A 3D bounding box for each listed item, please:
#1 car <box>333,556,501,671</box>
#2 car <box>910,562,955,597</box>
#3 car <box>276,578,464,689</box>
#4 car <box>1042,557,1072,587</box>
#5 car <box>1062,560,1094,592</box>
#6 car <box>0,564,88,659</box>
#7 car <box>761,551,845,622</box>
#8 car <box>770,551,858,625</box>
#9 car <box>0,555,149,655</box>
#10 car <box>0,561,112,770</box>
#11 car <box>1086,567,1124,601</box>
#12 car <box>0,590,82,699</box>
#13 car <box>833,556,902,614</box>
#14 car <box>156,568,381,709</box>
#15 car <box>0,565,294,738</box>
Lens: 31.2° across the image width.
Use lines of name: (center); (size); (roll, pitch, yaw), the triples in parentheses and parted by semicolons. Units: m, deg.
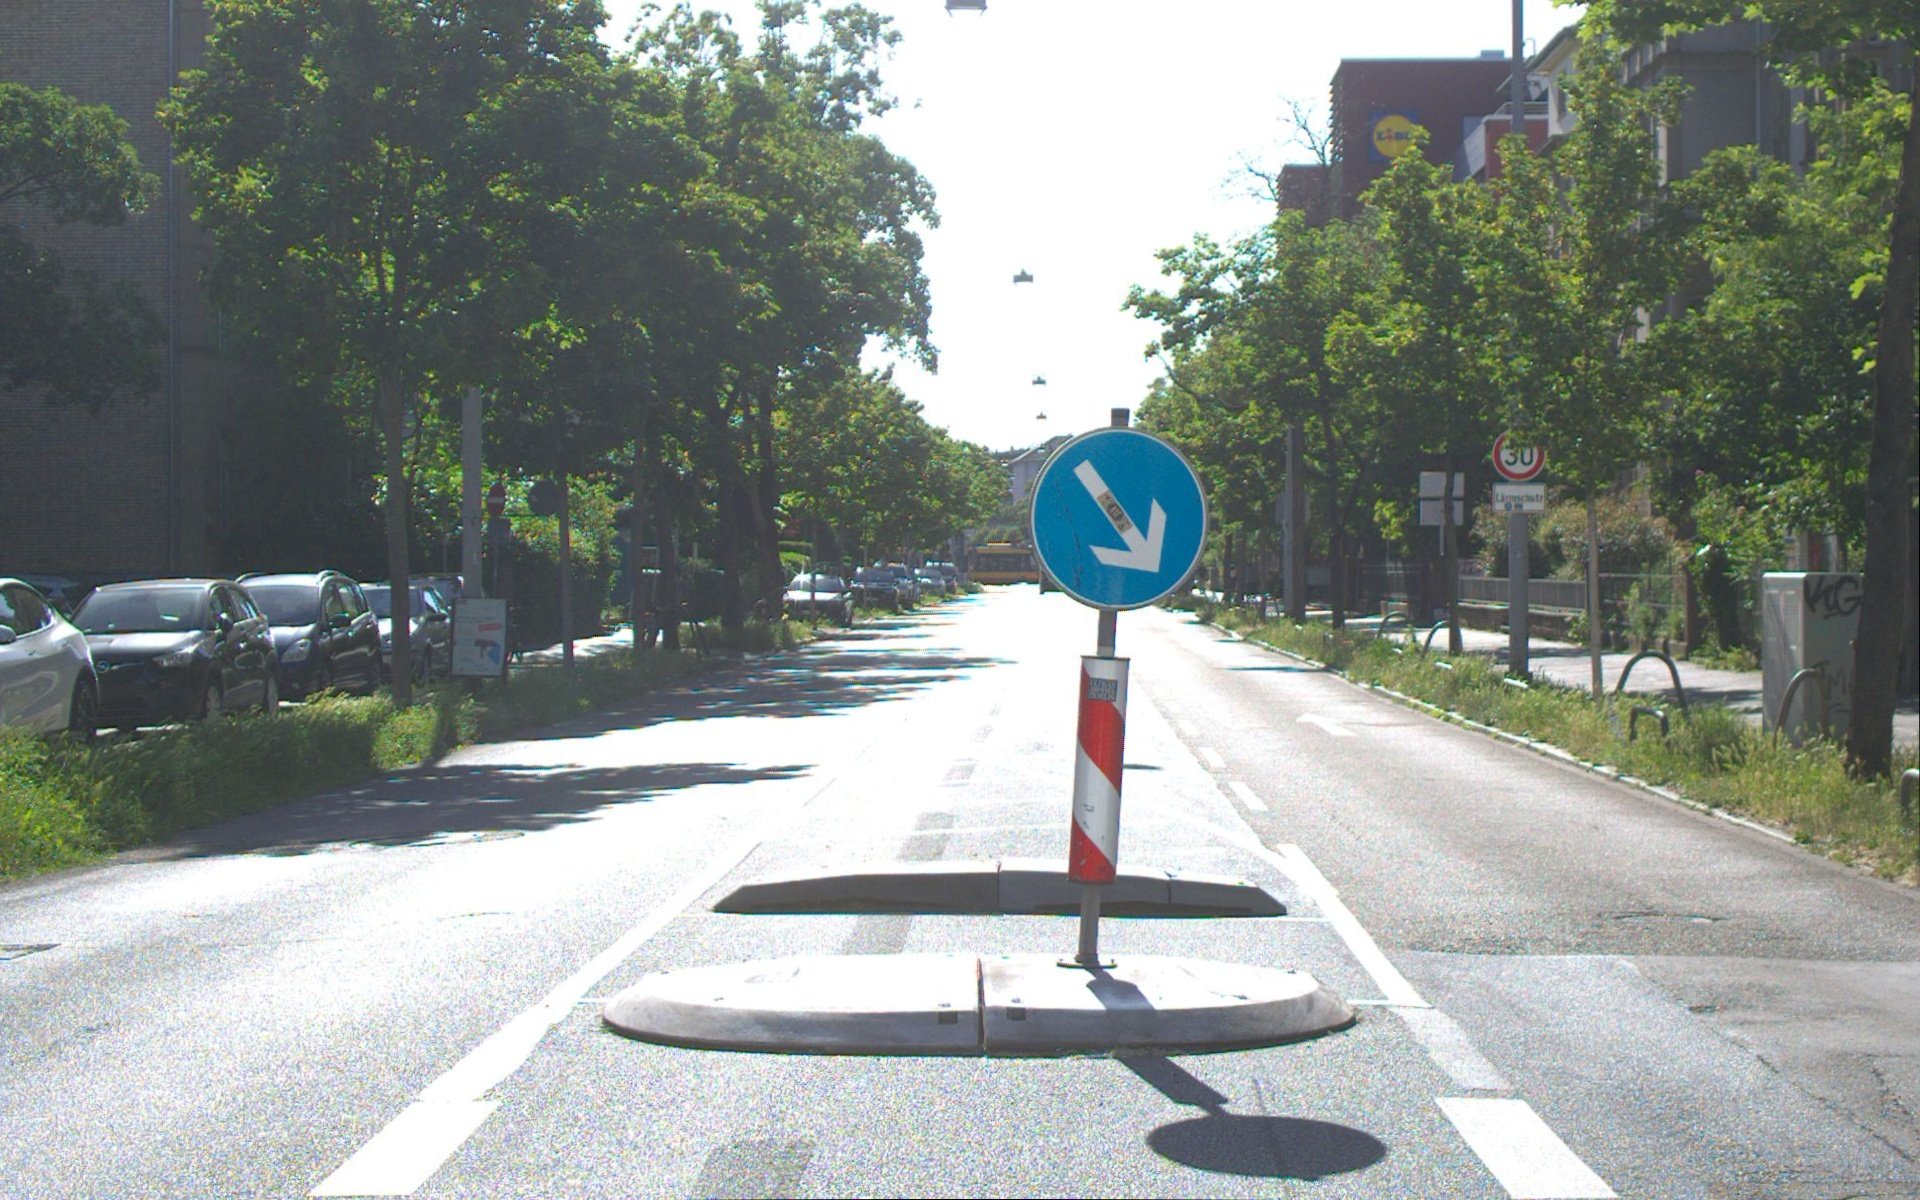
car: (-8.022, 0.168, 51.122); (1.763, 1.640, 4.000); (0, 1, 2)
car: (-1.367, -1.051, 172.834); (1.994, 1.690, 4.000); (-1, 1, 4)
car: (-7.912, 0.419, 46.408); (1.754, 1.393, 4.000); (0, 1, 1)
car: (5.944, -1.706, 210.248); (1.758, 1.777, 4.000); (0, 1, 3)
car: (6.634, -1.369, 192.644); (1.758, 1.777, 4.000); (0, 1, 3)
car: (-17.352, 0.202, 59.761); (3.986, 1.624, 1.687); (0, 1, -2)
car: (-4.562, -0.404, 100.725); (1.994, 2.007, 4.205); (-1, 1, 4)
car: (-4.057, -0.354, 96.220); (1.994, 2.007, 4.205); (-1, 1, 4)
car: (-16.792, 0.087, 61.815); (3.986, 1.763, 1.886); (0, 1, -1)
car: (-8.578, 0.546, 28.415); (1.888, 1.656, 4.530); (-2, 1, 1)
car: (7.627, -0.855, 180.459); (1.951, 1.702, 4.000); (0, 1, 3)
car: (-13.925, 0.606, 48.994); (1.686, 1.464, 4.000); (0, 1, 2)
car: (-3.300, -0.568, 123.098); (2.061, 2.007, 4.628); (-1, 1, 3)
car: (-8.133, 0.420, 40.753); (1.751, 1.548, 4.000); (-1, 1, 1)
car: (-8.186, 0.477, 34.756); (1.863, 1.582, 4.000); (-2, 1, 4)
